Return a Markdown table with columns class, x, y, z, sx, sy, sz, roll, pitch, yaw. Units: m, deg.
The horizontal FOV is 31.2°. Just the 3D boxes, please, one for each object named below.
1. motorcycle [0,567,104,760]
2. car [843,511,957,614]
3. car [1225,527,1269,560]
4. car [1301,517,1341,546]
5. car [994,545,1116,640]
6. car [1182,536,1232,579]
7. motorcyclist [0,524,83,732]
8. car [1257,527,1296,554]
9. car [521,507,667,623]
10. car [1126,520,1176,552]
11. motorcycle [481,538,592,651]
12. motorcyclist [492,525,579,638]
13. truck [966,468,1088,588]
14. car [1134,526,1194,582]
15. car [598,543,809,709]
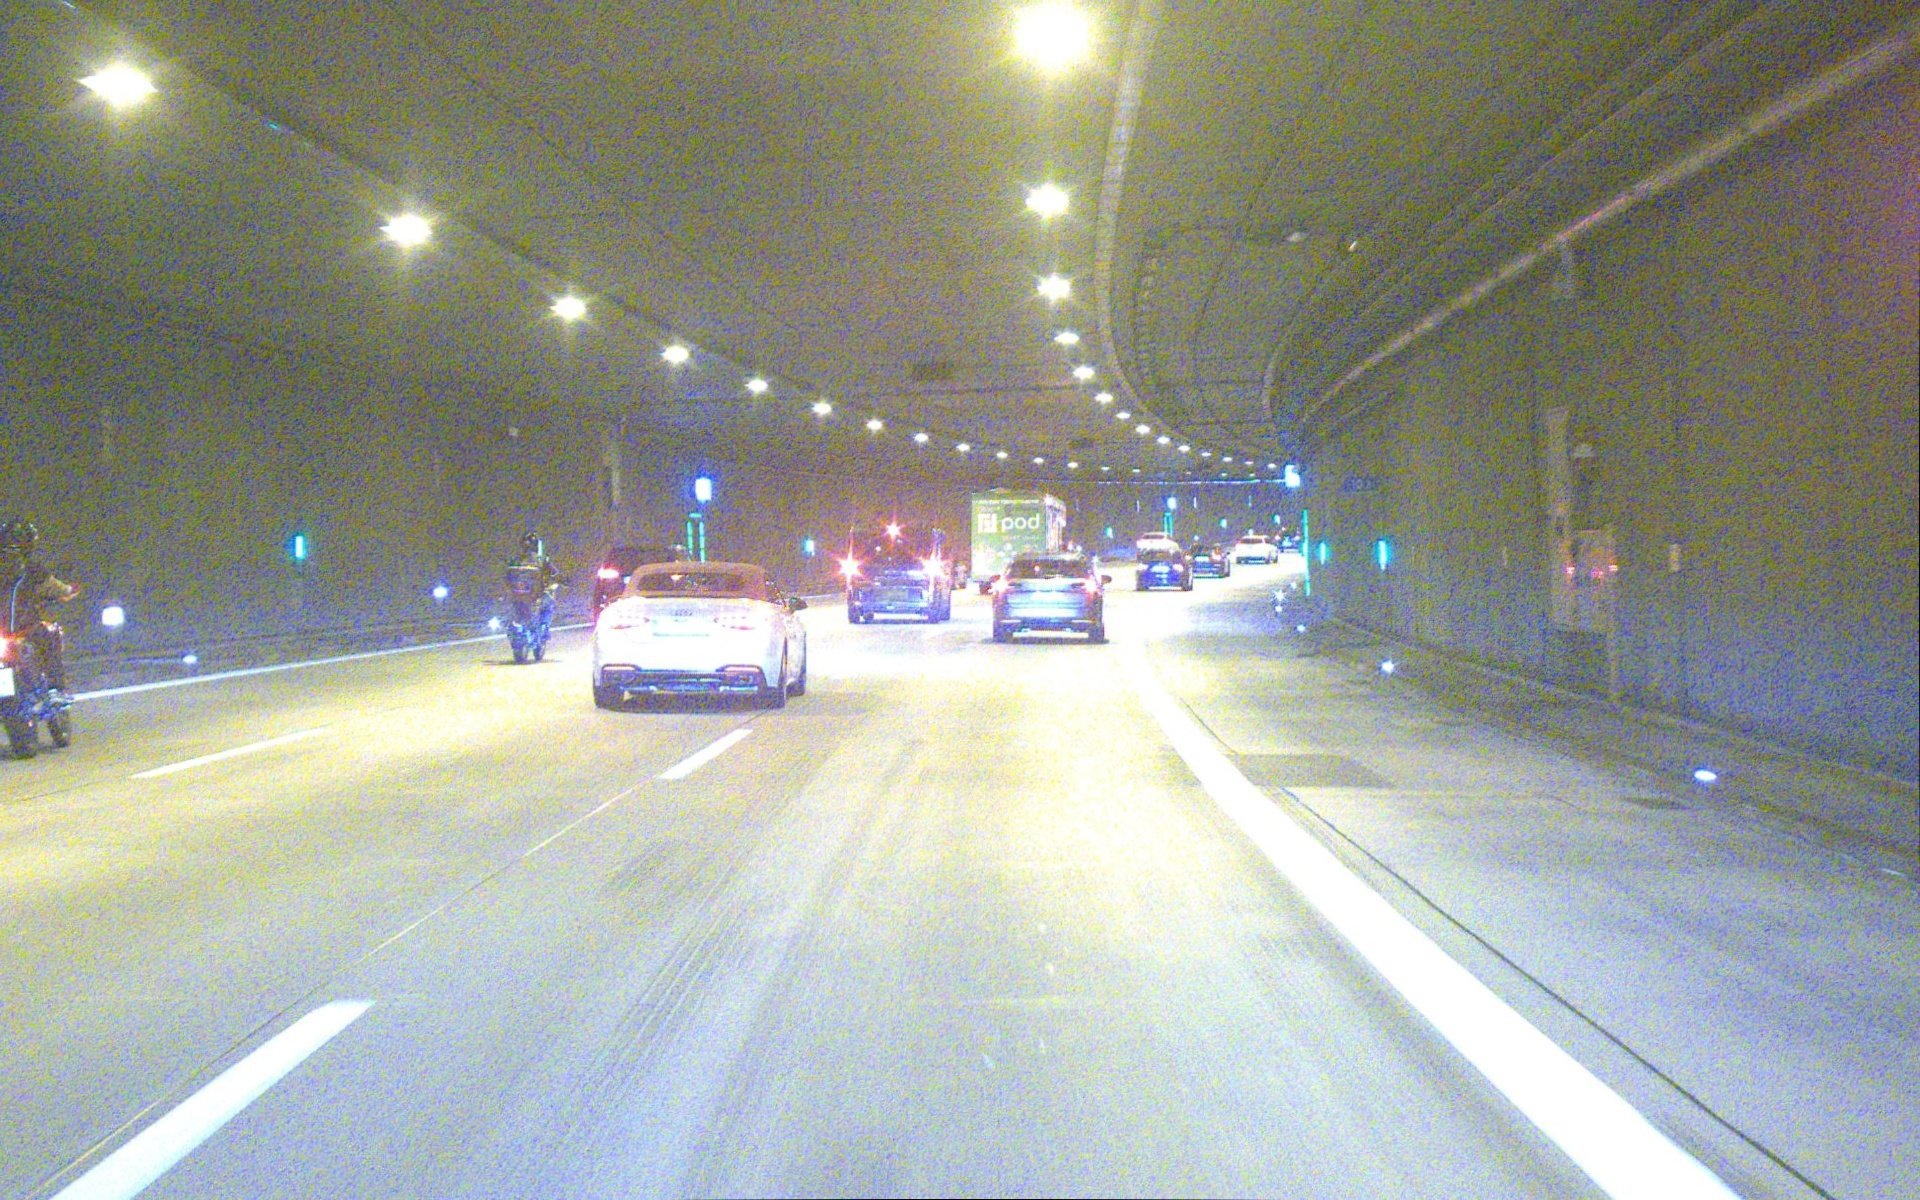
| class | x | y | z | sx | sy | sz | roll | pitch | yaw |
| --- | --- | --- | --- | --- | --- | --- | --- | --- | --- |
| motorcycle | -6.758 | 0.419 | 24.544 | 0.683 | 1.292 | 2.399 | 0 | 1 | 1 |
| car | -1.204 | -0.795 | 70.356 | 1.910 | 1.937 | 3.871 | 0 | 3 | 5 |
| car | 14.886 | -2.913 | 178.192 | 1.931 | 1.637 | 3.999 | 1 | 1 | 9 |
| car | 20.748 | -3.931 | 197.523 | 1.994 | 1.626 | 3.998 | 1 | 1 | 10 |
| car | 1.610 | -0.099 | 56.957 | 1.742 | 1.459 | 3.870 | 1 | -1 | 5 |
| car | 10.322 | -1.786 | 143.630 | 1.950 | 1.766 | 3.999 | 0 | 1 | 6 |
| motorcyclist | -6.764 | 0.188 | 24.447 | 0.777 | 1.447 | 1.069 | 0 | 0 | 0 |
| car | 19.208 | -3.608 | 208.801 | 1.931 | 1.637 | 3.998 | 1 | 1 | 11 |
| car | -6.549 | -0.647 | 61.921 | 1.994 | 2.007 | 4.000 | 0 | 1 | 3 |
| car | 10.173 | -3.385 | 182.993 | 1.932 | 1.637 | 3.997 | 1 | 1 | 14 |
| motorcycle | -5.529 | -0.087 | 45.092 | 0.926 | 1.429 | 2.963 | 1 | 1 | 3 |
| motorcyclist | -5.551 | -0.250 | 45.044 | 0.806 | 1.443 | 1.865 | 0 | 1 | 3 |
| truck | 2.192 | -2.261 | 108.938 | 3.040 | 3.660 | 7.390 | 0 | 1 | 8 |
| car | 6.849 | -1.546 | 115.134 | 1.857 | 1.848 | 3.999 | 0 | 1 | 5 |
| car | -2.471 | 0.199 | 34.149 | 1.702 | 1.414 | 5.061 | 0 | 2 | 0 |
